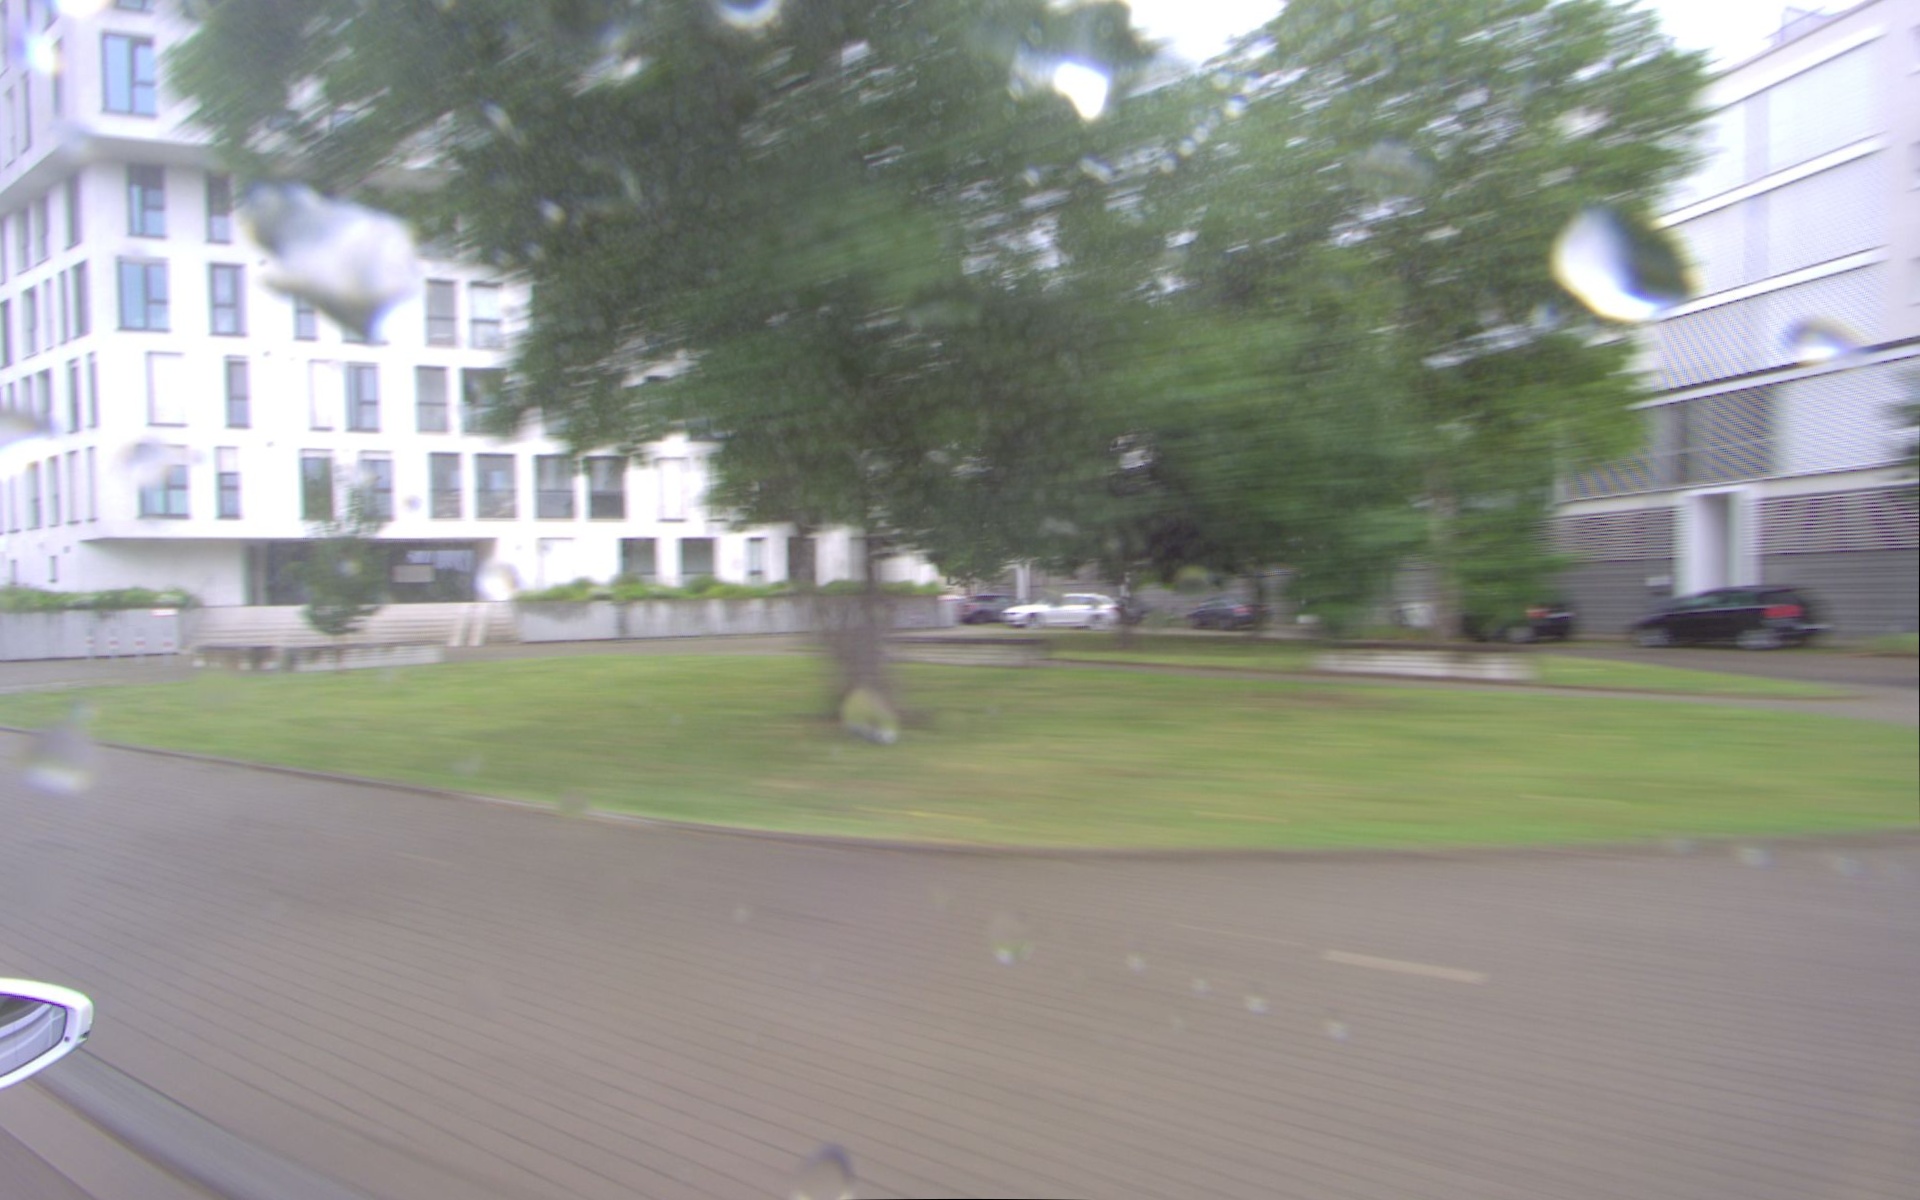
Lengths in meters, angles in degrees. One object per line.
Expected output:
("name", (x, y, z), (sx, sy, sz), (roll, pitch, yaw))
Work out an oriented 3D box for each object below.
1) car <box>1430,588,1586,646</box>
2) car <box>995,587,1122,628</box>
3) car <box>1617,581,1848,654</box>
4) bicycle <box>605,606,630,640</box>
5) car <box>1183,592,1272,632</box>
("car", (16.184, 0.472, 29.813), (1.705, 1.569, 3.990), (-1, 0, -19))
("car", (3.920, 0.311, 39.910), (4.752, 1.527, 1.621), (1, 0, -18))
("car", (18.209, 0.389, 23.844), (1.705, 1.569, 4.111), (-1, 0, -19))
("bicycle", (-11.028, 0.715, 32.281), (0.712, 1.047, 2.069), (-1, 0, -18))
("car", (11.669, 0.477, 43.909), (1.744, 1.569, 4.133), (-3, 2, -19))
